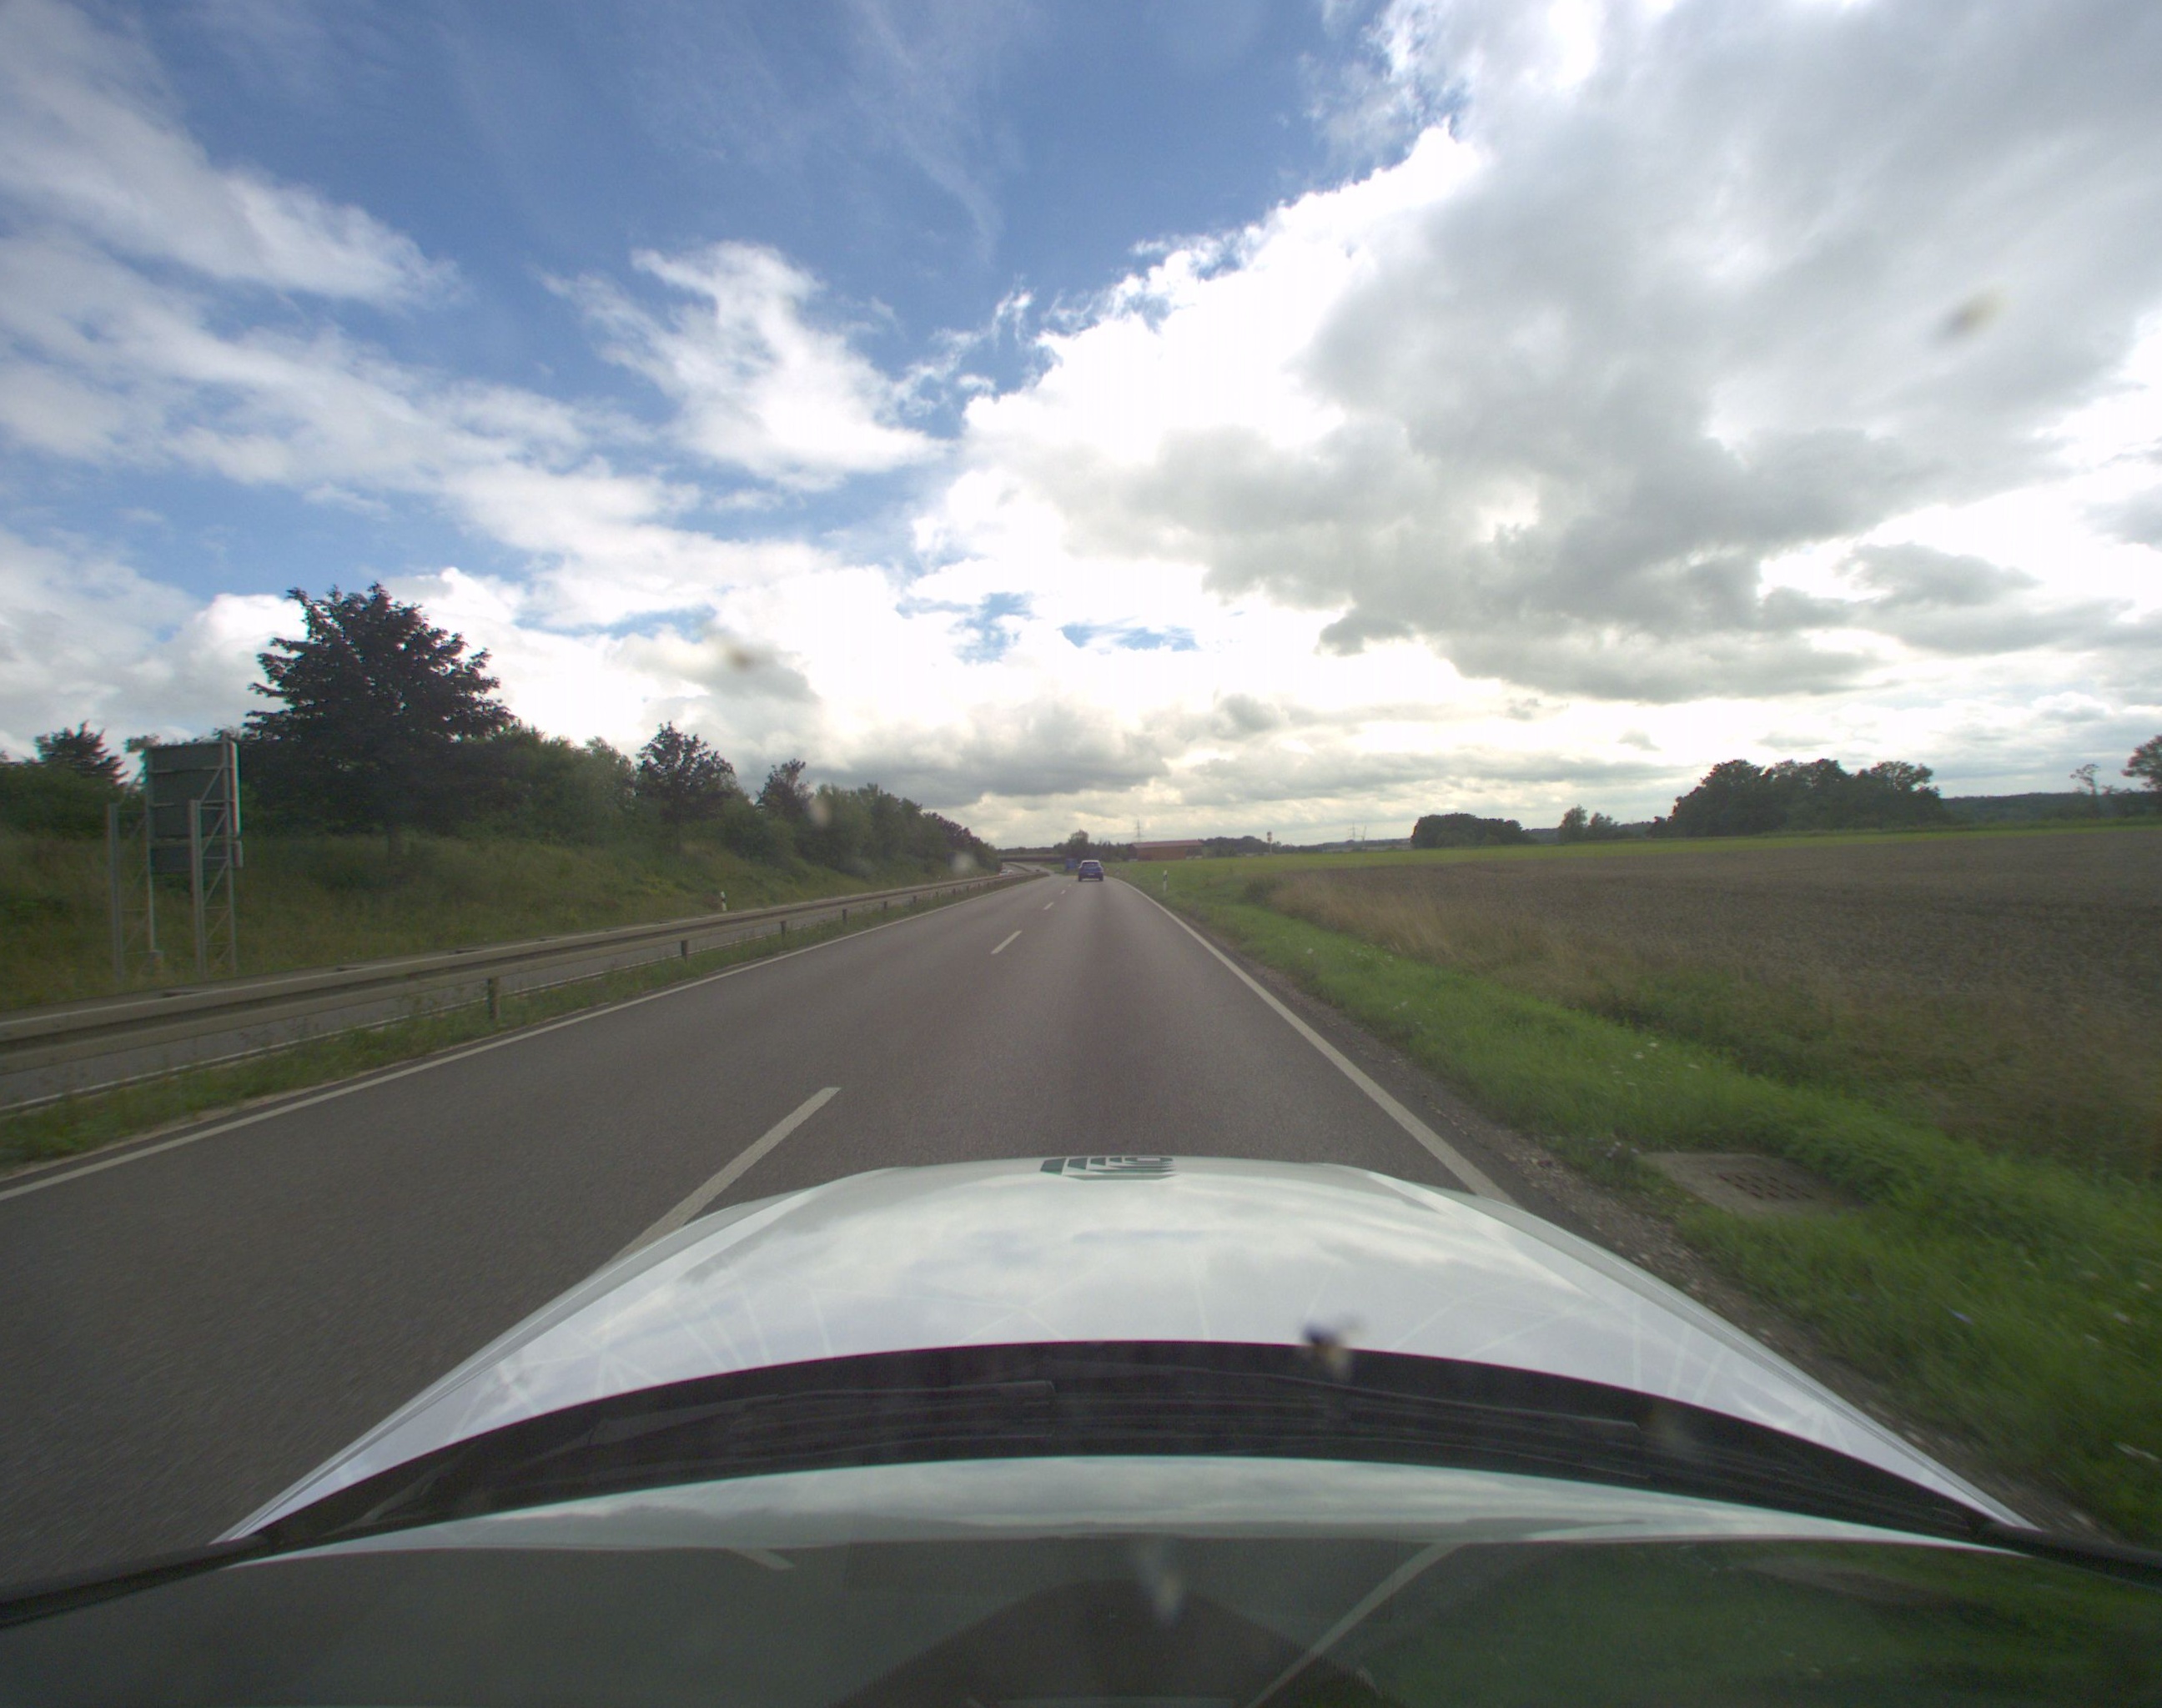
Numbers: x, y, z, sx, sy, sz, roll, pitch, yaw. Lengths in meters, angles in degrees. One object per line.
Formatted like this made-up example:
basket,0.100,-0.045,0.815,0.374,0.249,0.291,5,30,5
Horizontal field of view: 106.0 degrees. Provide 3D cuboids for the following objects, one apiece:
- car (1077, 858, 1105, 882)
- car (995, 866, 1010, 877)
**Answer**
car,0.811,1.219,63.651,2.025,1.660,4.546,-1,0,3
car,-13.100,2.946,136.076,1.987,1.518,4.987,-3,1,0
